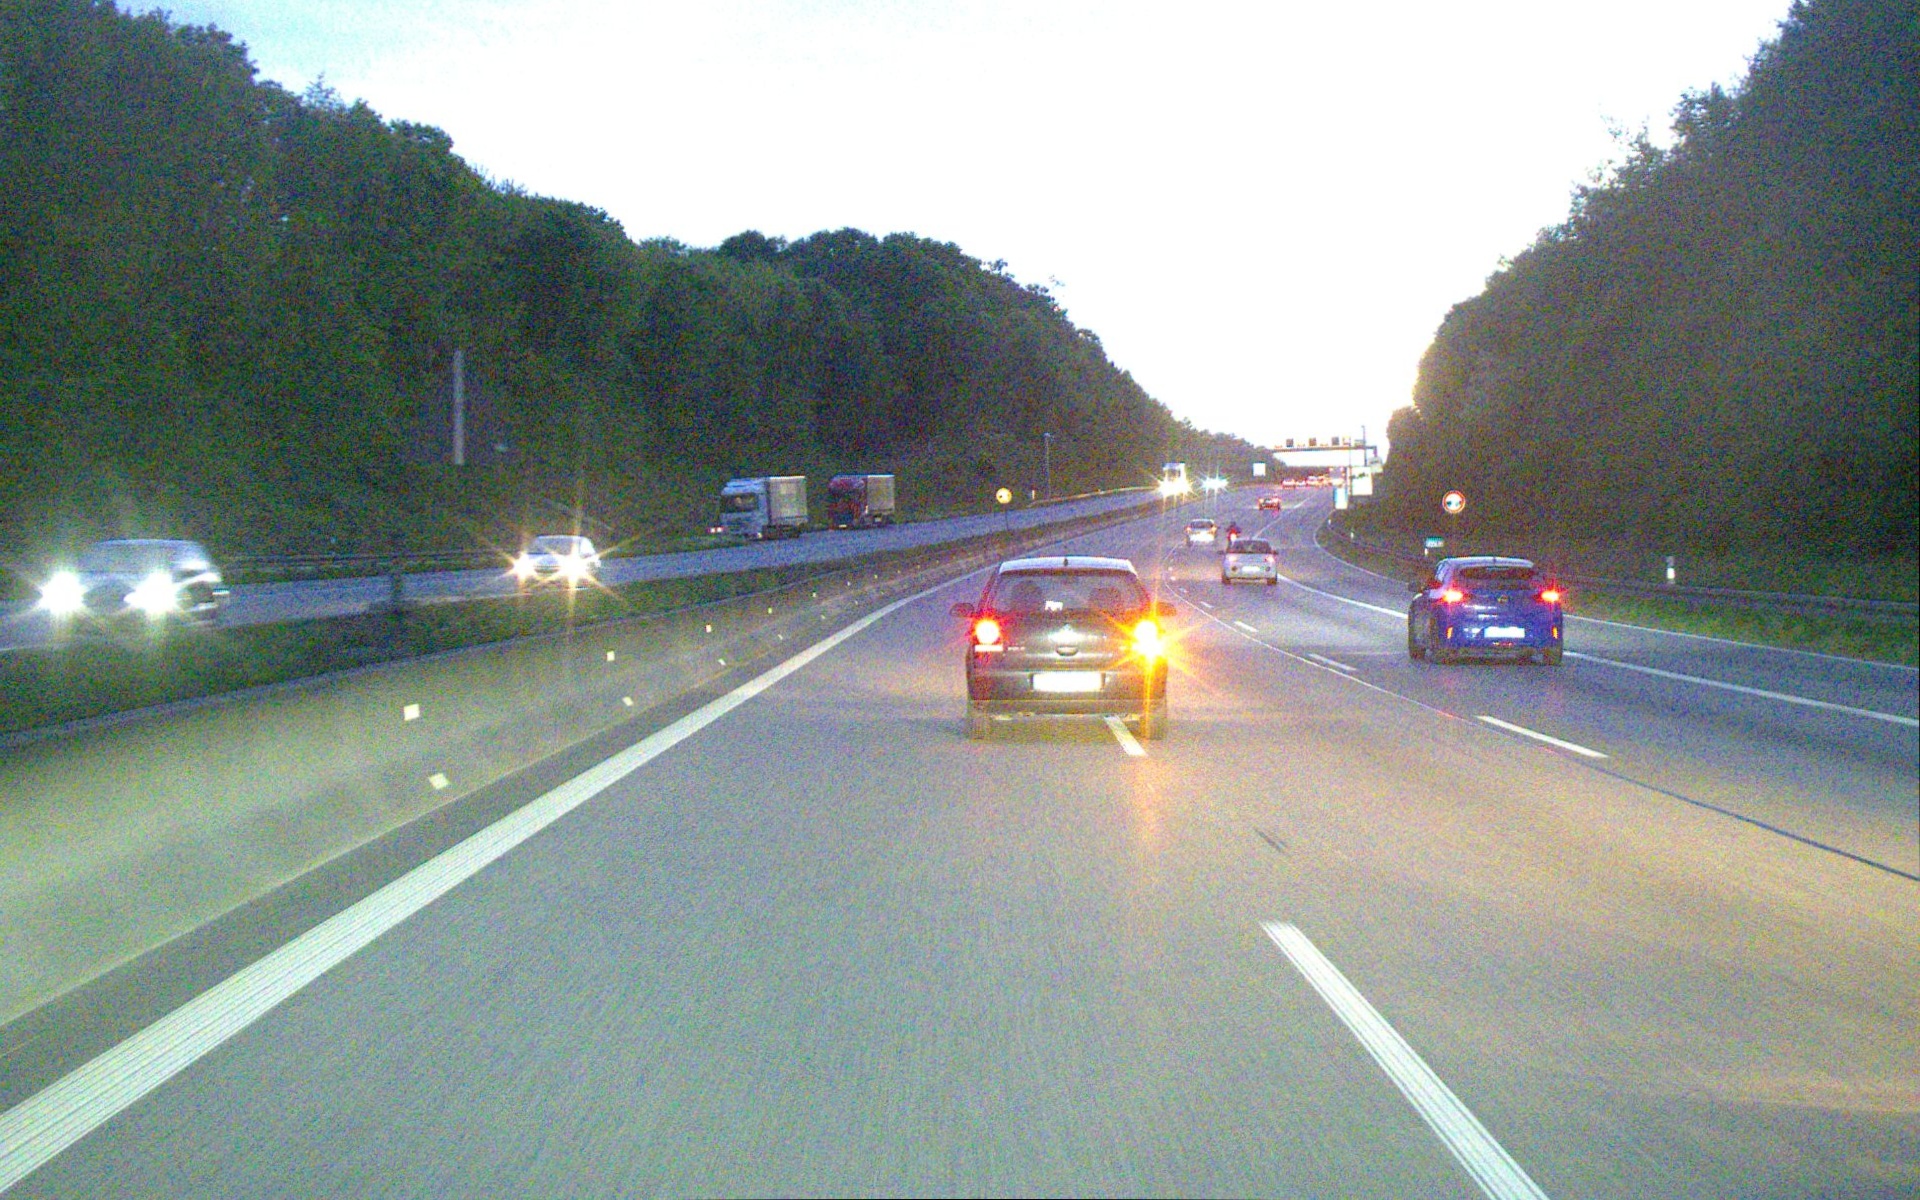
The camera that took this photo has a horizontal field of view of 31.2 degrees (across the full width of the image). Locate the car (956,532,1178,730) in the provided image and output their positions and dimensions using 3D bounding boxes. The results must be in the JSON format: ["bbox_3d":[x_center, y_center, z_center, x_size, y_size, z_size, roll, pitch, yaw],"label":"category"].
[{"bbox_3d":[0.845,0.199,28.701,1.704,1.504,4.232,1,1,0],"label":"car"}]

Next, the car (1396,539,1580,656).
[{"bbox_3d":[7.156,-0.073,47.011,1.865,1.431,4.584,1,2,1],"label":"car"}]

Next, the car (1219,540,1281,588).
[{"bbox_3d":[9.265,-1.164,110.026,1.826,1.470,4.398,1,1,3],"label":"car"}]

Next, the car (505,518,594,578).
[{"bbox_3d":[-10.403,-1.335,87.354,1.819,1.474,4.371,1,1,-1],"label":"car"}]

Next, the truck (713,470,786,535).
[{"bbox_3d":[-13.436,-6.278,220.479,3.192,4.090,7.687,0,2,8],"label":"truck"}]

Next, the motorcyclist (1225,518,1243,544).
[{"bbox_3d":[13.846,-3.478,173.452,0.830,1.287,1.190,-1,1,7],"label":"motorcyclist"}]

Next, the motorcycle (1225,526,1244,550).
[{"bbox_3d":[13.865,-3.134,173.528,0.830,1.130,2.475,-1,1,7],"label":"motorcycle"}]

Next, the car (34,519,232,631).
[{"bbox_3d":[-11.523,-0.380,48.168,1.819,1.474,4.371,1,1,-1],"label":"car"}]

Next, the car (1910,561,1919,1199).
[{"bbox_3d":[3.122,0.697,5.536,1.691,1.485,4.949,1,1,-1],"label":"car"}]

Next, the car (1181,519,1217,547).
[{"bbox_3d":[13.190,-3.695,189.799,1.865,1.489,4.398,1,1,3],"label":"car"}]

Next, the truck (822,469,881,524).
[{"bbox_3d":[-8.237,-7.855,261.072,3.192,4.090,7.687,0,2,8],"label":"truck"}]
